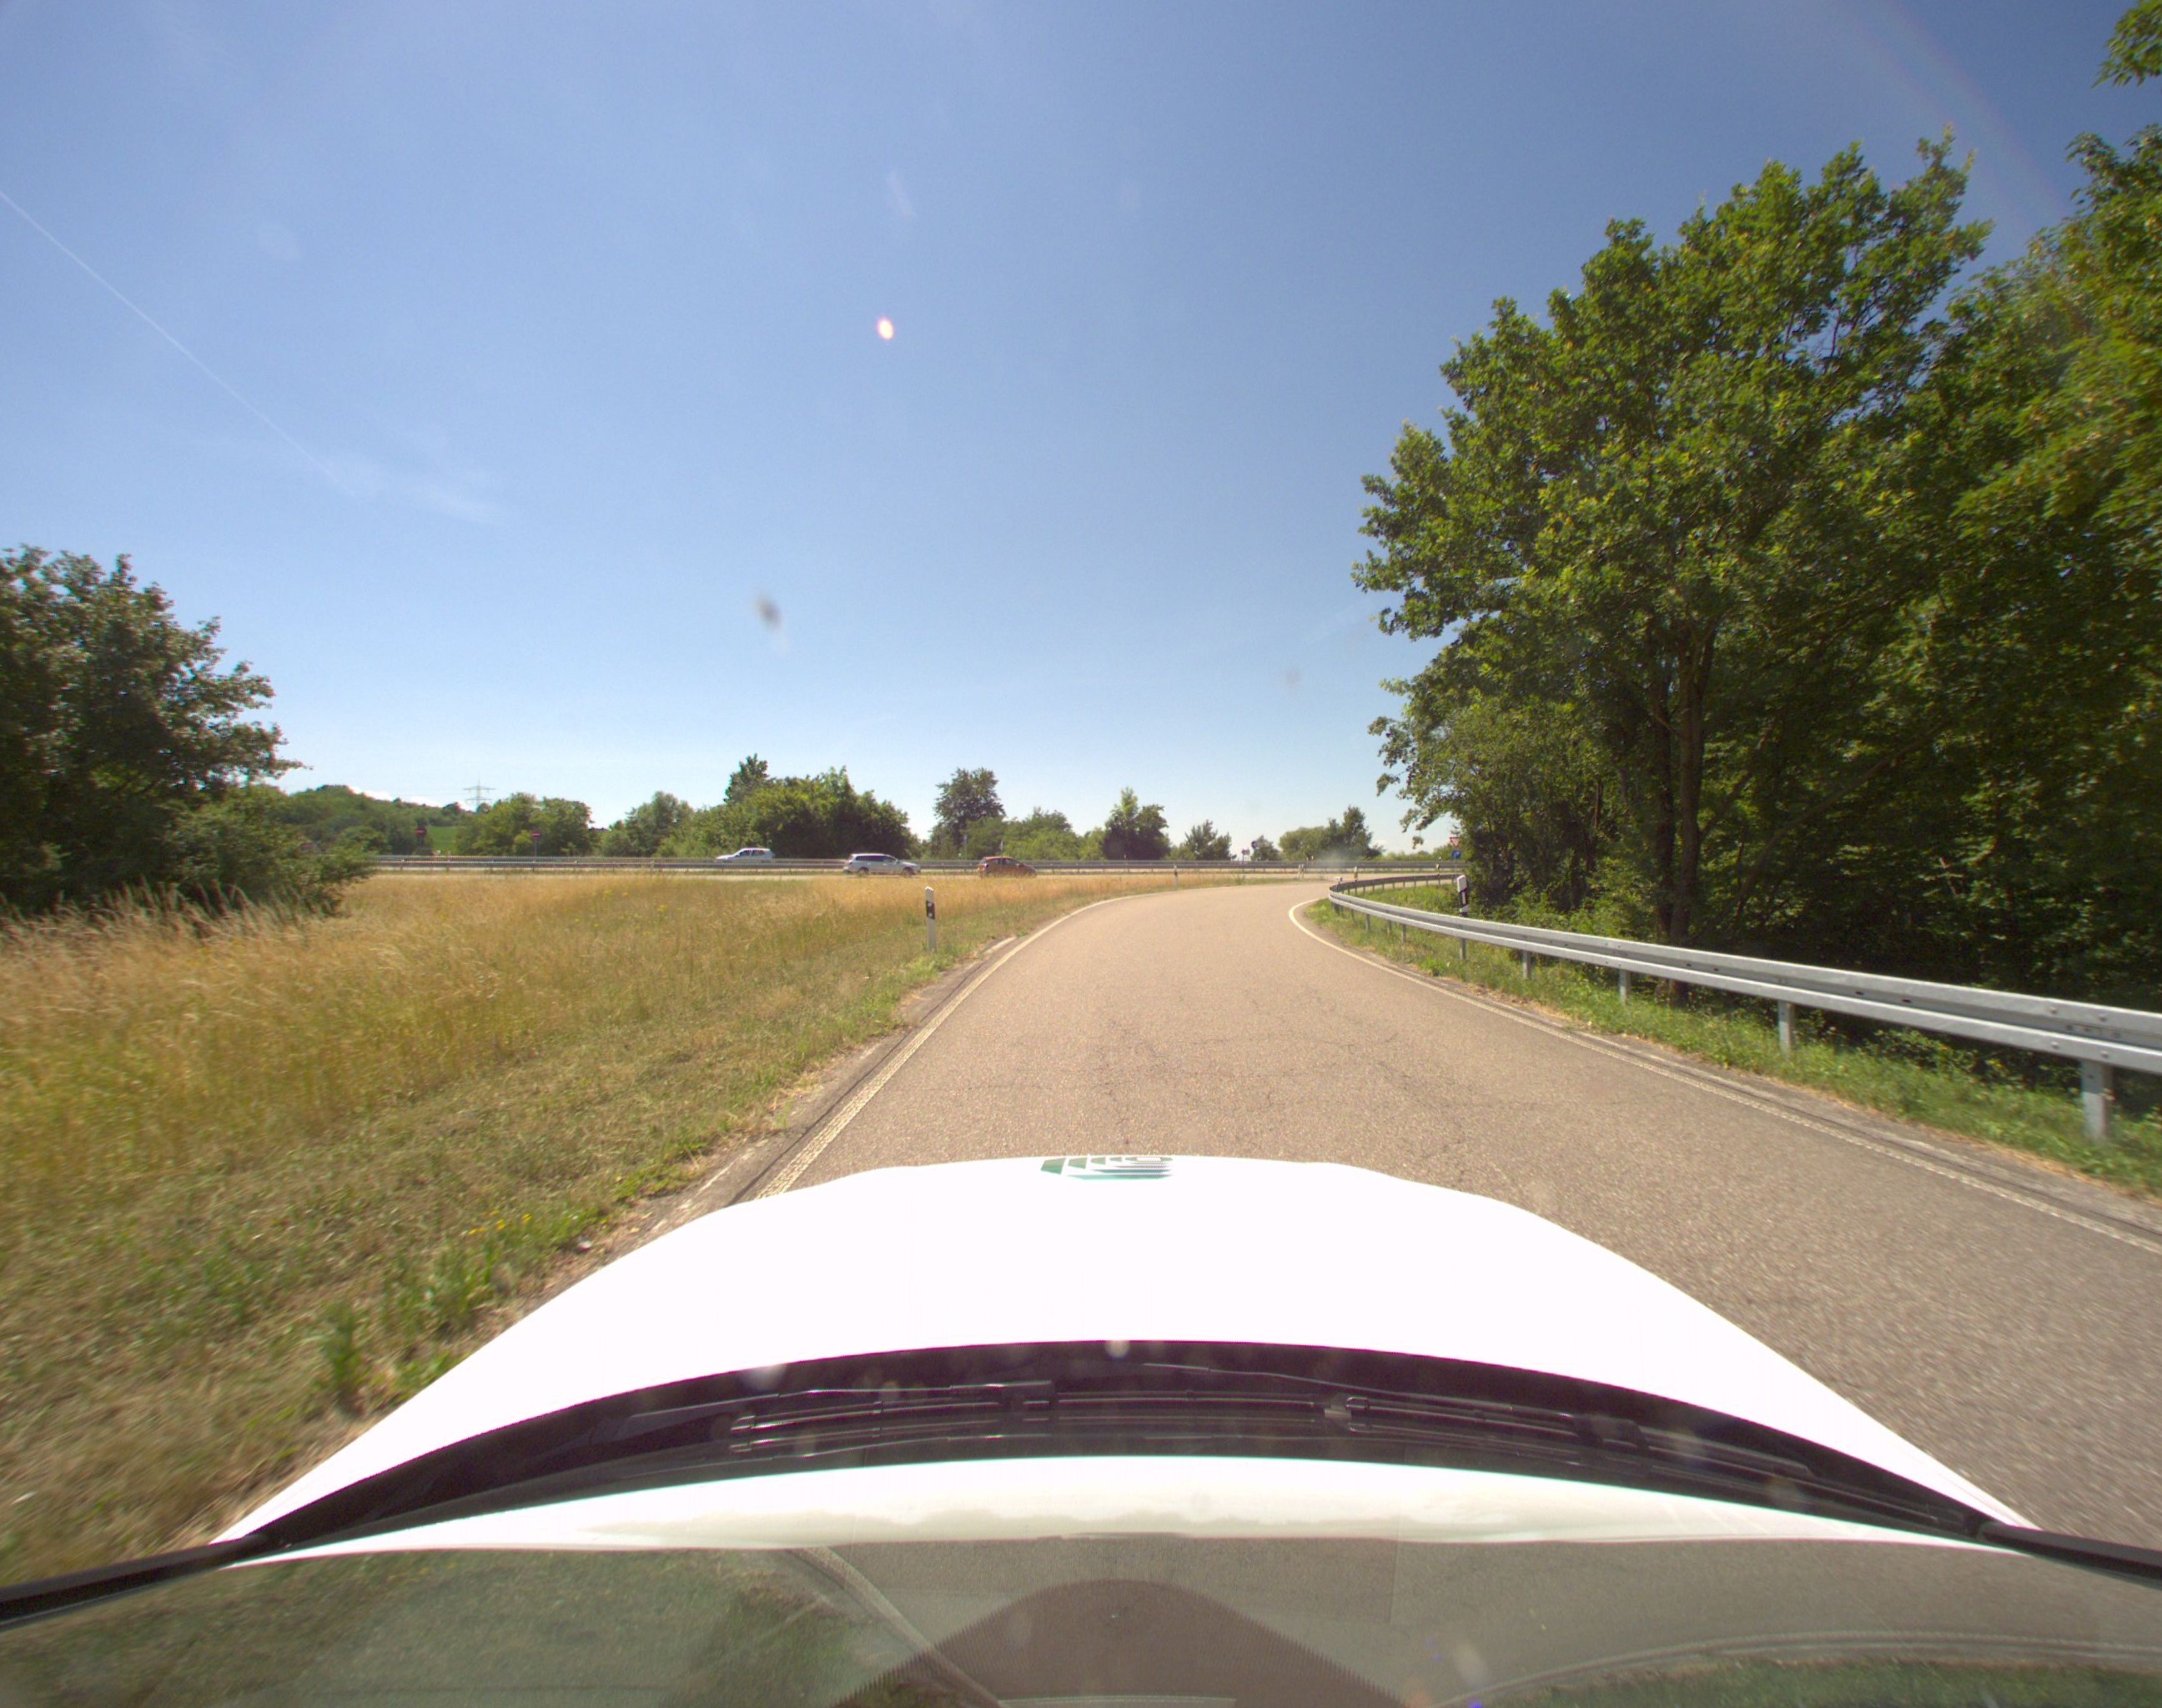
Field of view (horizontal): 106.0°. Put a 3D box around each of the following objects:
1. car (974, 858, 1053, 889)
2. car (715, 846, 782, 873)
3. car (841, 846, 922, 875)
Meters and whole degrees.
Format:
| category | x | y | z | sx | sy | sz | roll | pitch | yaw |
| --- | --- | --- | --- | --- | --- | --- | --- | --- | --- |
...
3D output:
| category | x | y | z | sx | sy | sz | roll | pitch | yaw |
| --- | --- | --- | --- | --- | --- | --- | --- | --- | --- |
| car | -4.243 | 1.233 | 50.941 | 4.530 | 1.790 | 1.986 | 2 | -2 | -21 |
| car | -23.496 | 0.394 | 57.545 | 4.232 | 1.790 | 1.984 | 2 | -2 | -25 |
| car | -12.586 | 0.430 | 51.379 | 4.787 | 1.790 | 1.986 | 0 | -3 | -21 |
